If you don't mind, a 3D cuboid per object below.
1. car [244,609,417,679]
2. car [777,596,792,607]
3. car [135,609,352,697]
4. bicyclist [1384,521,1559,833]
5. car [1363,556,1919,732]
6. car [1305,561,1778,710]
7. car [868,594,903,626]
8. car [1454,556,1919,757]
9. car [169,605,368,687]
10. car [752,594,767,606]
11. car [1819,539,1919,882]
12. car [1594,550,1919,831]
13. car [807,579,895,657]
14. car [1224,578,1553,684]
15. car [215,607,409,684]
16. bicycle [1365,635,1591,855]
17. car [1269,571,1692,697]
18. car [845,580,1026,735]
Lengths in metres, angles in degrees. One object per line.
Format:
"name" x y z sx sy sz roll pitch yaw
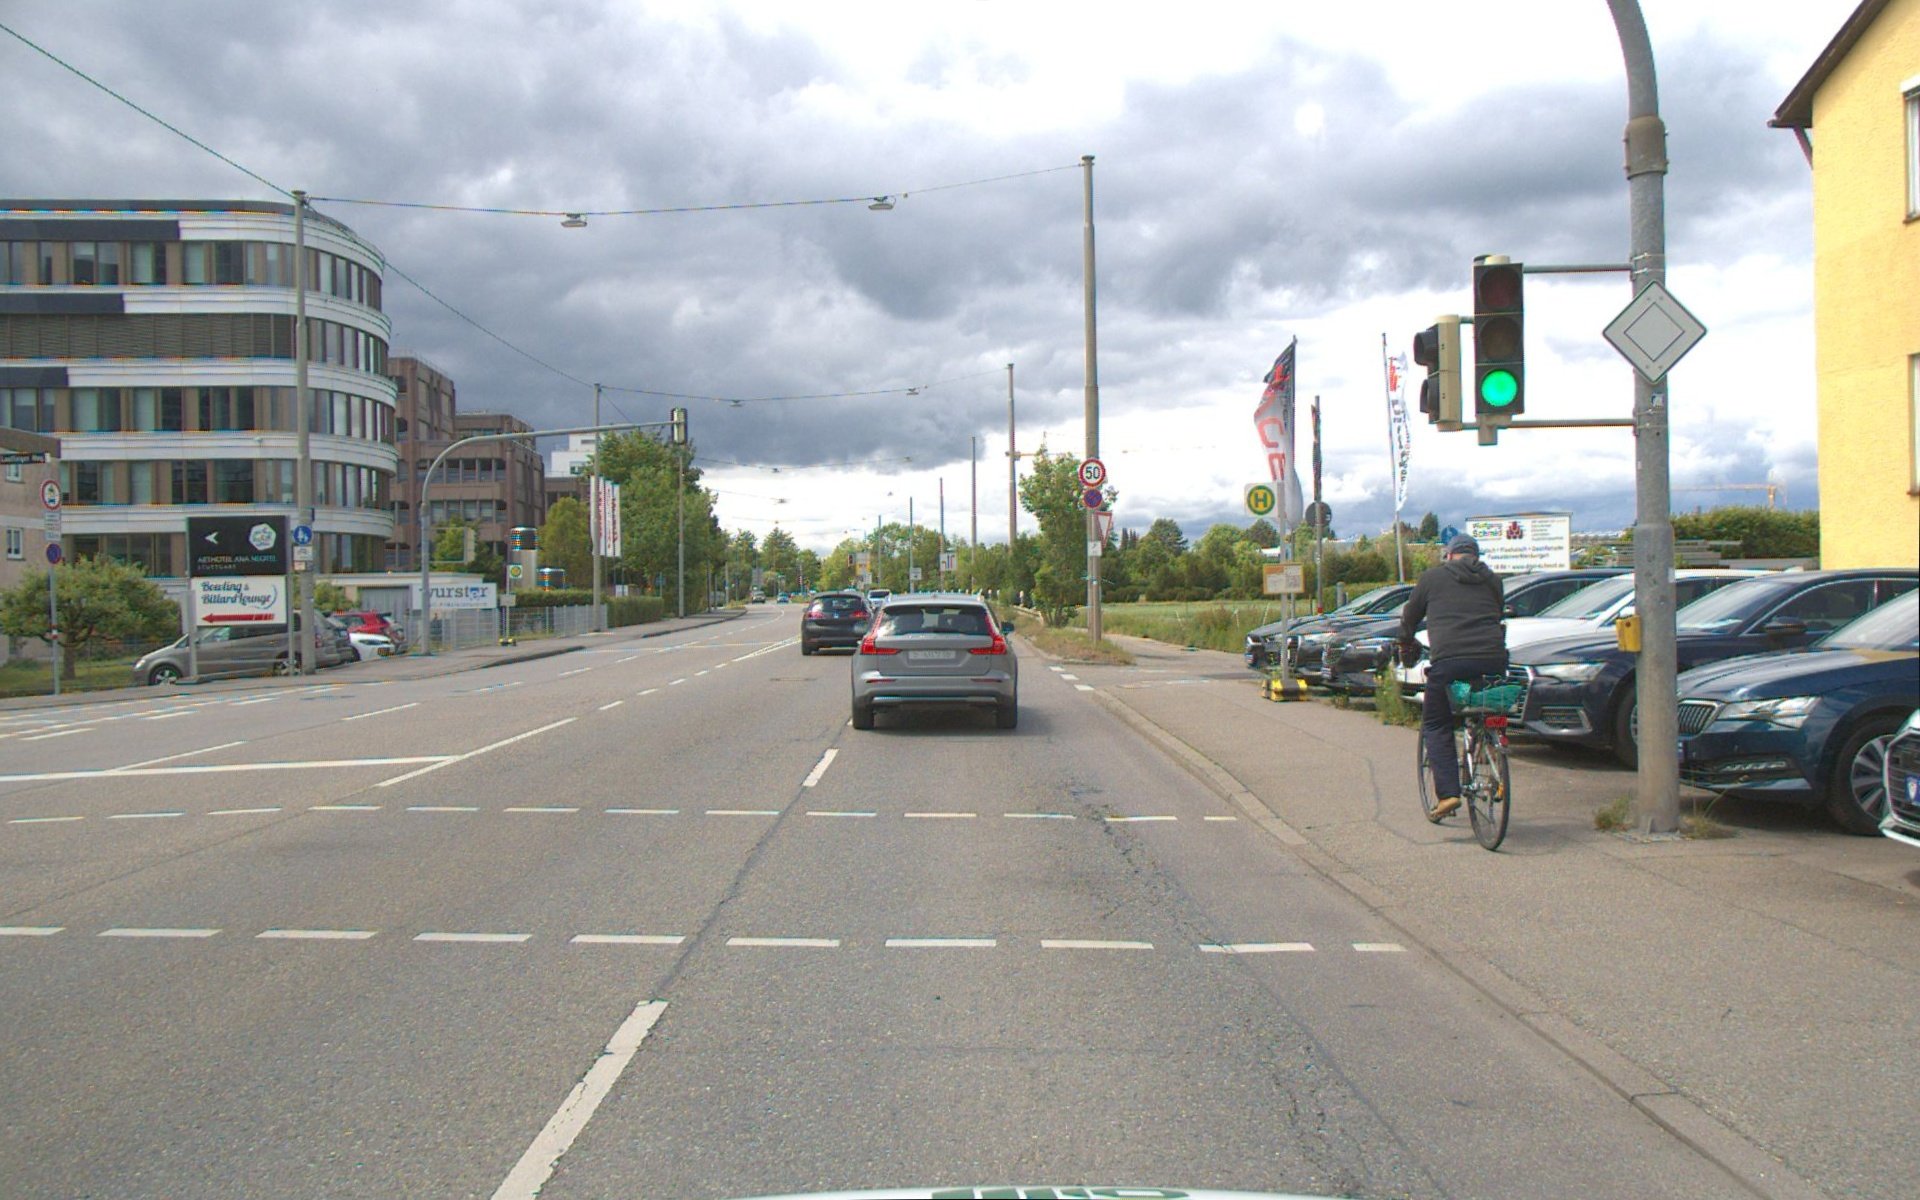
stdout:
"car" -17.128 1.183 45.155 3.911 1.393 1.847 -7 0 -4
"car" -25.053 0.174 236.595 1.844 1.547 3.997 1 -1 -3
"car" -16.176 1.170 37.519 4.019 1.421 1.904 -7 2 -9
"bicyclist" 2.988 0.432 9.738 0.625 1.704 0.890 -4 0 -1
"car" 6.436 0.392 15.733 4.702 1.506 2.032 1 0 0
"car" 6.366 0.371 18.509 4.581 1.519 2.015 1 0 0
"car" -4.214 0.564 94.009 1.953 1.724 3.998 1 -1 -2
"car" 6.312 0.412 12.935 4.282 1.428 1.987 1 0 -3
"car" -16.681 1.093 40.042 3.911 1.449 1.854 -7 0 -4
"car" -28.686 0.012 236.588 1.844 1.747 3.997 1 -1 -3
"car" 6.552 0.480 7.203 4.602 1.519 2.045 0 1 -2
"car" 6.523 0.471 10.057 4.565 1.519 2.034 0 0 -2
"car" -2.563 0.427 39.219 1.954 1.747 3.997 1 -1 -3
"car" 6.161 0.458 24.102 4.235 1.423 2.002 1 -2 -3
"car" -16.562 1.151 42.475 4.146 1.410 1.981 -7 0 -7
"bicycle" 3.022 0.798 9.860 0.625 1.081 1.977 -4 0 -1
"car" 6.527 0.413 21.143 4.753 1.455 2.038 1 0 -1
"car" -0.248 0.620 19.164 1.857 1.581 4.000 1 -1 0
